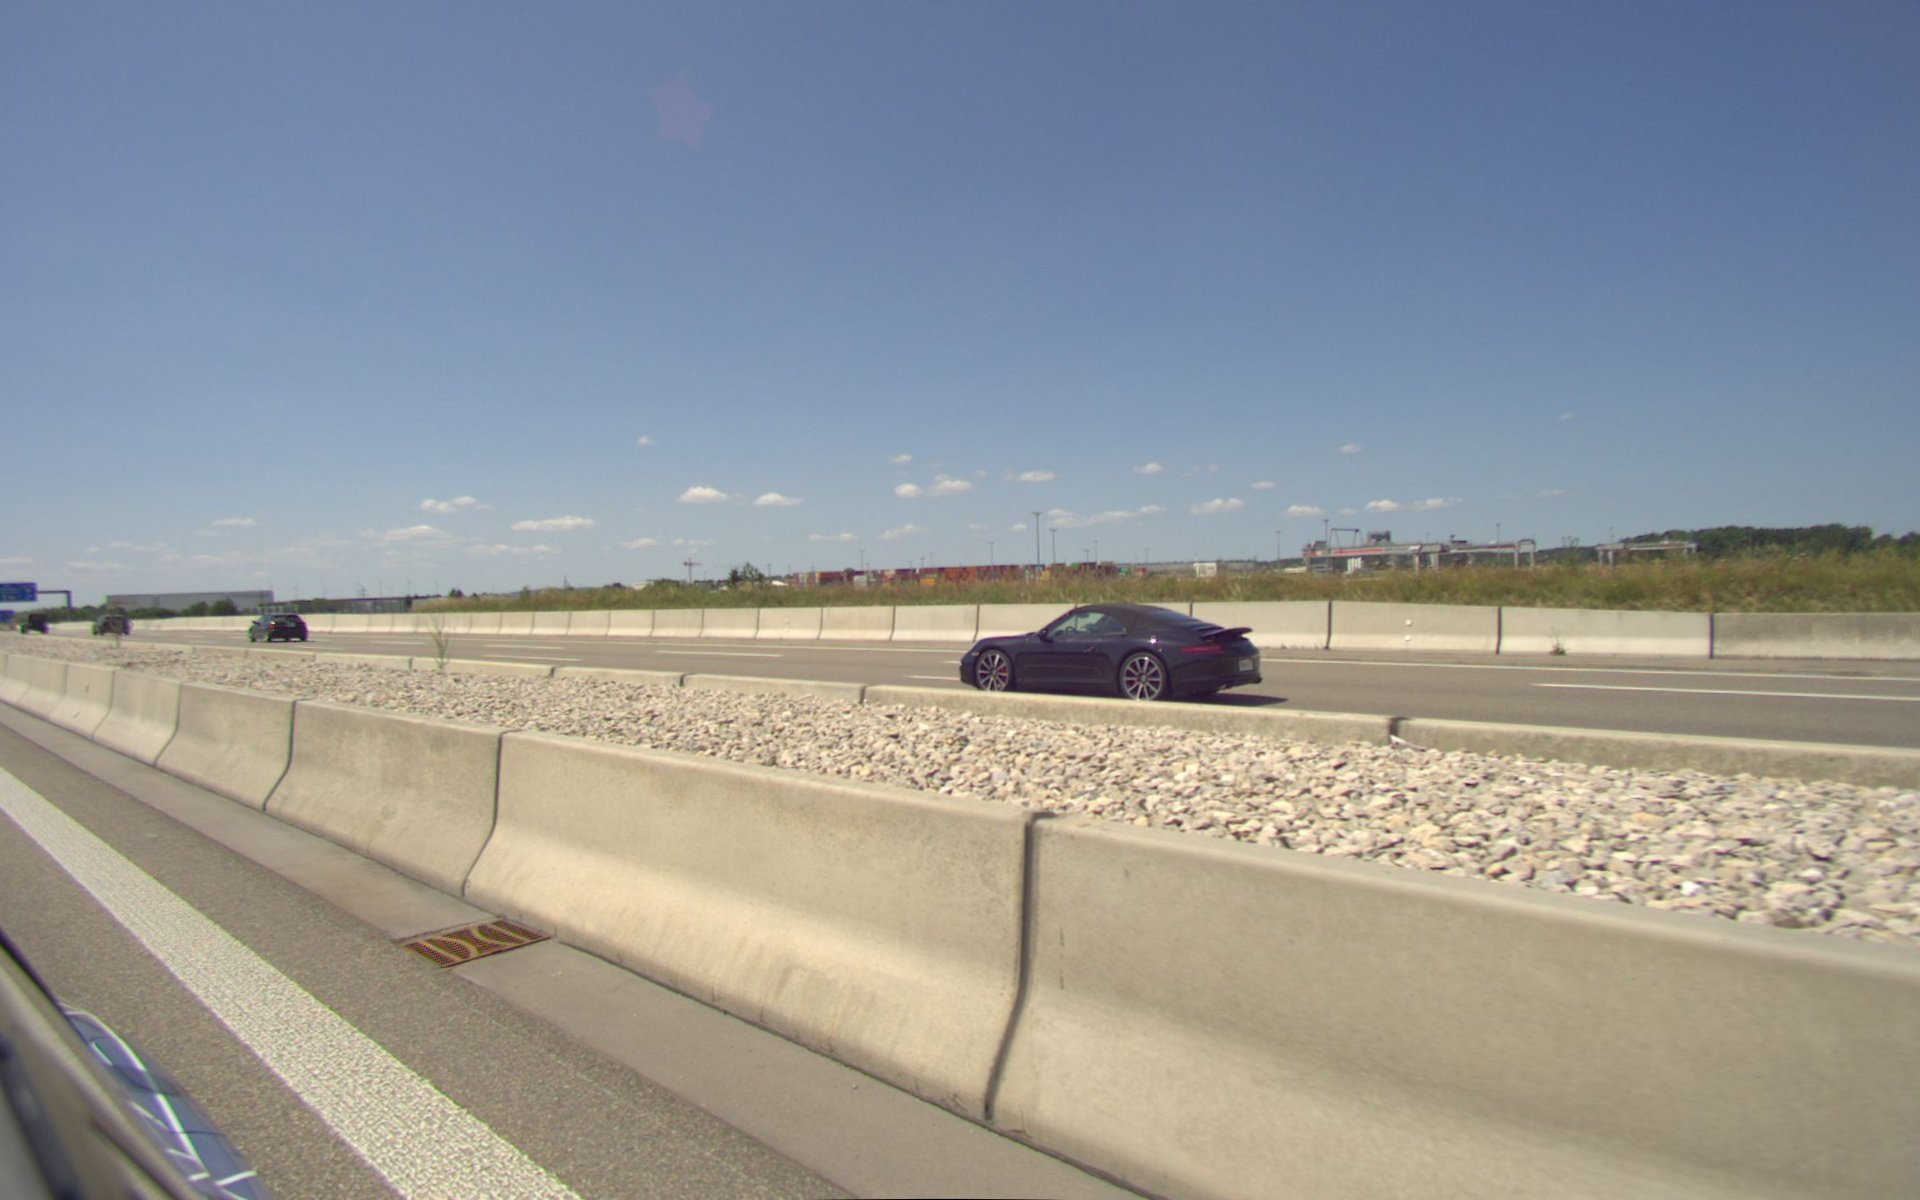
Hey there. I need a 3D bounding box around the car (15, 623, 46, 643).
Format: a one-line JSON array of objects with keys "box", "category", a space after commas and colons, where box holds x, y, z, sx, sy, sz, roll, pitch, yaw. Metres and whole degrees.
[{"box": [-95.386, 3.393, 103.825, 4.733, 2.033, 1.865, -2, -1, 42], "category": "car"}]

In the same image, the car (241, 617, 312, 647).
[{"box": [-33.971, 1.558, 50.251, 4.363, 1.389, 1.972, -2, -1, 42], "category": "car"}]

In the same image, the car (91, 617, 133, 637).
[{"box": [-66.665, 2.139, 79.526, 5.137, 1.503, 1.849, -2, -1, 42], "category": "car"}]

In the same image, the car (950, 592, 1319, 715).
[{"box": [2.223, 0.651, 13.884, 4.751, 1.392, 1.824, -1, 0, 43], "category": "car"}]
